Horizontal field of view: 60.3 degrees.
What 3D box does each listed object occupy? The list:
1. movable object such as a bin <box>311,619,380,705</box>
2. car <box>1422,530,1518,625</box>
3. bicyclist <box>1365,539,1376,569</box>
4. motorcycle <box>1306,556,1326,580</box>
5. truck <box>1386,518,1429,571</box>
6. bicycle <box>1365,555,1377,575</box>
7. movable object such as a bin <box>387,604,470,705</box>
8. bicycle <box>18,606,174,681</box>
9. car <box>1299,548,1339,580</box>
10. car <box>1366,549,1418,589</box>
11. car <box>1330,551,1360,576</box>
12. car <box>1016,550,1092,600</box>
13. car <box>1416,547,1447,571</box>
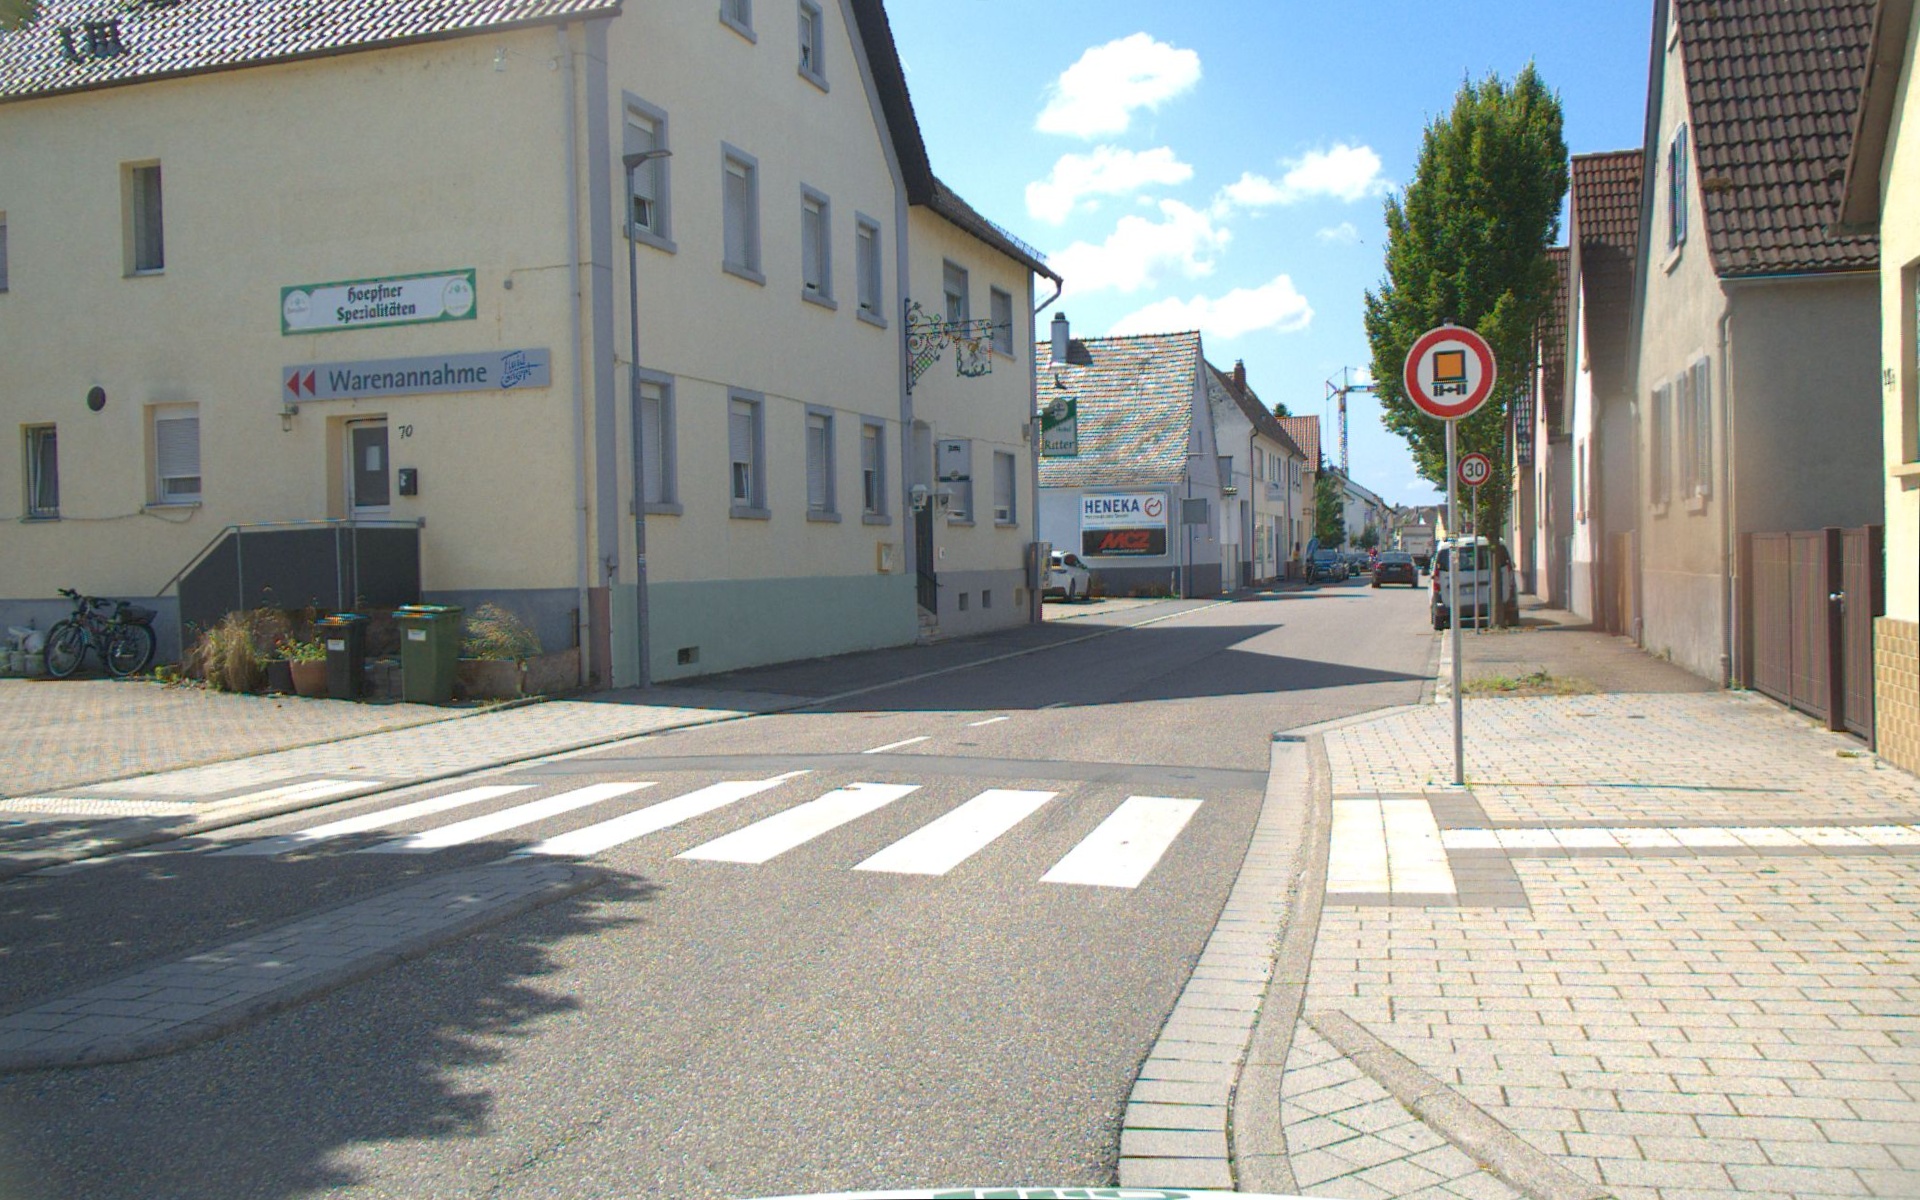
[{"bbox_3d":[-7.005,0.701,18.867,0.469,0.944,0.547,-1,1,19],"label":"movable object such as a bin"},{"bbox_3d":[10.640,-0.499,34.712,1.683,1.821,4.148,-2,1,15],"label":"car"},{"bbox_3d":[28.837,-3.202,116.150,0.724,2.095,0.845,1,1,16],"label":"bicyclist"},{"bbox_3d":[17.671,-1.590,82.032,0.828,1.190,2.471,1,1,15],"label":"motorcycle"},{"bbox_3d":[37.532,-4.608,138.535,3.079,4.324,9.307,1,1,18],"label":"truck"},{"bbox_3d":[28.862,-2.461,116.197,0.735,1.330,2.687,1,1,16],"label":"bicycle"},{"bbox_3d":[-5.999,0.611,18.692,0.587,1.097,0.659,-1,1,19],"label":"movable object such as a bin"},{"bbox_3d":[-11.320,0.570,21.658,2.125,0.928,0.542,-1,1,22],"label":"bicycle"},{"bbox_3d":[18.630,-1.889,85.760,1.771,1.616,4.003,0,2,16],"label":"car"},{"bbox_3d":[18.076,-1.331,69.137,1.862,1.591,4.479,0,2,18],"label":"car"},{"bbox_3d":[25.550,-2.414,109.641,1.771,1.616,4.003,0,2,16],"label":"car"},{"bbox_3d":[3.129,-0.852,54.189,1.683,1.583,4.203,1,2,15],"label":"car"},{"bbox_3d":[27.931,-2.428,97.921,1.683,1.378,4.160,0,2,17],"label":"car"}]
